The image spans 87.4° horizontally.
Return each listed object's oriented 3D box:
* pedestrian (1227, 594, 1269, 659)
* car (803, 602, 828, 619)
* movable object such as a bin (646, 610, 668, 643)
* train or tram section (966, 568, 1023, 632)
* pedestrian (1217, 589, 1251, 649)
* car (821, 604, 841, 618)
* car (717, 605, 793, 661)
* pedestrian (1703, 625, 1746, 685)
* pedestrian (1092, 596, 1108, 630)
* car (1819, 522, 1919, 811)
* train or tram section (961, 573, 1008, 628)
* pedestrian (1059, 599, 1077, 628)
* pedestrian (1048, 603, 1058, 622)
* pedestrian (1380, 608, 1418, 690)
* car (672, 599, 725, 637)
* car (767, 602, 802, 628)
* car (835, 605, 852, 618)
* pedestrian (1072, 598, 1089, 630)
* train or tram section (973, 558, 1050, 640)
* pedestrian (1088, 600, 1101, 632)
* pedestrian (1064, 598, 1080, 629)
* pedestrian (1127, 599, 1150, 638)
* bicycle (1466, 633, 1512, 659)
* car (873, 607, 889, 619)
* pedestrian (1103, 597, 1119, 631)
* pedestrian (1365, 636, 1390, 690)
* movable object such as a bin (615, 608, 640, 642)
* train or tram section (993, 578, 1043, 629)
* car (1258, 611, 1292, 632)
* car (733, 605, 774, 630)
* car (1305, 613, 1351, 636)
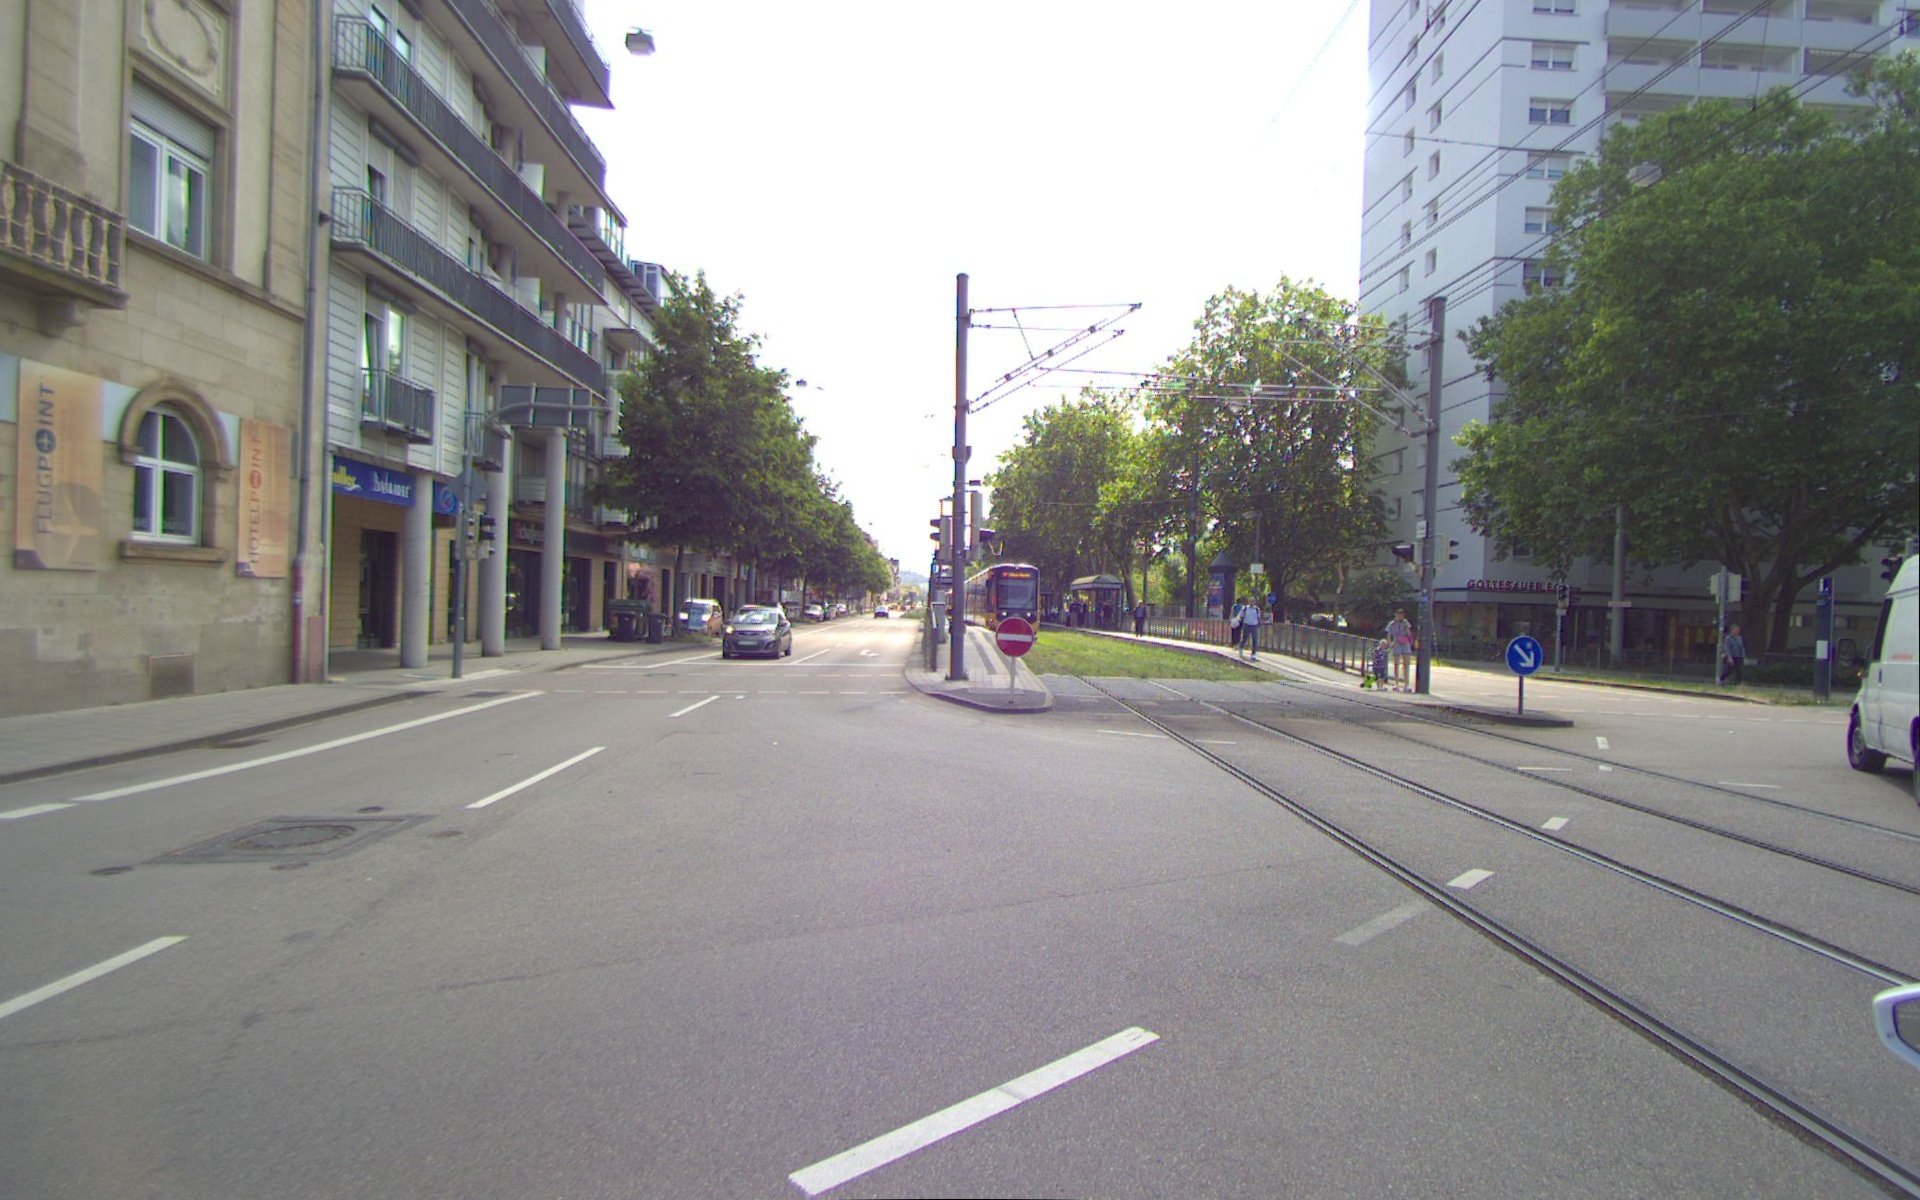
[{"bbox_3d":[8.187,0.741,28.606,0.834,1.804,1.045,2,0,-2],"label":"pedestrian"},{"bbox_3d":[-12.525,0.901,87.152,1.691,1.390,3.476,2,0,-2],"label":"car"},{"bbox_3d":[-10.638,0.915,35.308,0.582,1.132,0.787,2,0,-7],"label":"movable object such as a bin"},{"bbox_3d":[2.040,0.045,63.660,2.750,3.631,10.401,2,0,-2],"label":"train or tram section"},{"bbox_3d":[9.077,0.623,33.257,0.813,1.924,0.846,2,0,-2],"label":"pedestrian"},{"bbox_3d":[-13.212,1.091,103.307,1.691,1.390,3.703,2,0,-2],"label":"car"},{"bbox_3d":[-5.886,0.907,29.181,1.607,1.458,3.642,2,0,-3],"label":"car"},{"bbox_3d":[21.153,1.505,27.805,0.525,1.620,0.784,2,0,-5],"label":"pedestrian"},{"bbox_3d":[7.900,0.749,56.580,0.690,1.874,0.907,2,0,-3],"label":"pedestrian"},{"bbox_3d":[9.658,0.584,9.181,2.018,2.364,4.702,2,0,32],"label":"car"},{"bbox_3d":[1.692,0.083,75.453,2.679,3.631,13.012,2,0,-2],"label":"train or tram section"},{"bbox_3d":[6.866,0.859,63.957,0.872,1.825,1.494,2,0,-3],"label":"pedestrian"},{"bbox_3d":[7.558,1.033,81.751,0.665,1.535,0.595,2,0,-3],"label":"pedestrian"},{"bbox_3d":[9.266,1.025,21.238,0.613,1.688,0.676,2,0,17],"label":"pedestrian"},{"bbox_3d":[-11.524,0.775,44.456,1.626,1.600,3.475,2,0,-4],"label":"car"},{"bbox_3d":[-11.359,0.961,65.279,1.691,1.630,3.690,2,0,-2],"label":"car"},{"bbox_3d":[-13.656,1.335,117.721,1.691,1.390,3.476,2,0,-2],"label":"car"},{"bbox_3d":[7.450,0.848,61.988,0.797,1.897,1.030,2,0,-3],"label":"pedestrian"},{"bbox_3d":[2.414,-0.011,51.930,2.762,3.631,13.012,2,0,-2],"label":"train or tram section"},{"bbox_3d":[8.073,0.952,60.332,0.466,1.926,0.533,2,0,-26],"label":"pedestrian"},{"bbox_3d":[6.834,0.831,61.265,0.700,1.825,1.132,2,0,-3],"label":"pedestrian"},{"bbox_3d":[8.378,0.865,47.065,0.843,1.798,0.876,2,0,-2],"label":"pedestrian"},{"bbox_3d":[22.867,1.999,43.416,1.696,1.022,0.534,2,0,25],"label":"bicycle"},{"bbox_3d":[-8.968,1.479,114.756,1.628,1.390,3.476,2,0,-2],"label":"car"},{"bbox_3d":[8.529,0.797,56.624,0.690,1.874,0.789,2,0,-3],"label":"pedestrian"},{"bbox_3d":[8.677,1.301,20.900,0.412,1.077,0.437,2,0,17],"label":"pedestrian"},{"bbox_3d":[-11.624,0.871,35.135,0.638,1.132,0.787,2,0,-7],"label":"movable object such as a bin"},{"bbox_3d":[4.516,0.308,80.692,2.679,3.631,13.012,2,0,-2],"label":"train or tram section"},{"bbox_3d":[29.887,2.050,95.295,1.777,1.839,4.339,2,0,0],"label":"car"},{"bbox_3d":[-11.930,0.989,58.204,1.691,1.390,3.476,2,0,-2],"label":"car"},{"bbox_3d":[30.603,2.024,83.676,1.709,1.779,4.769,2,0,-4],"label":"car"}]
